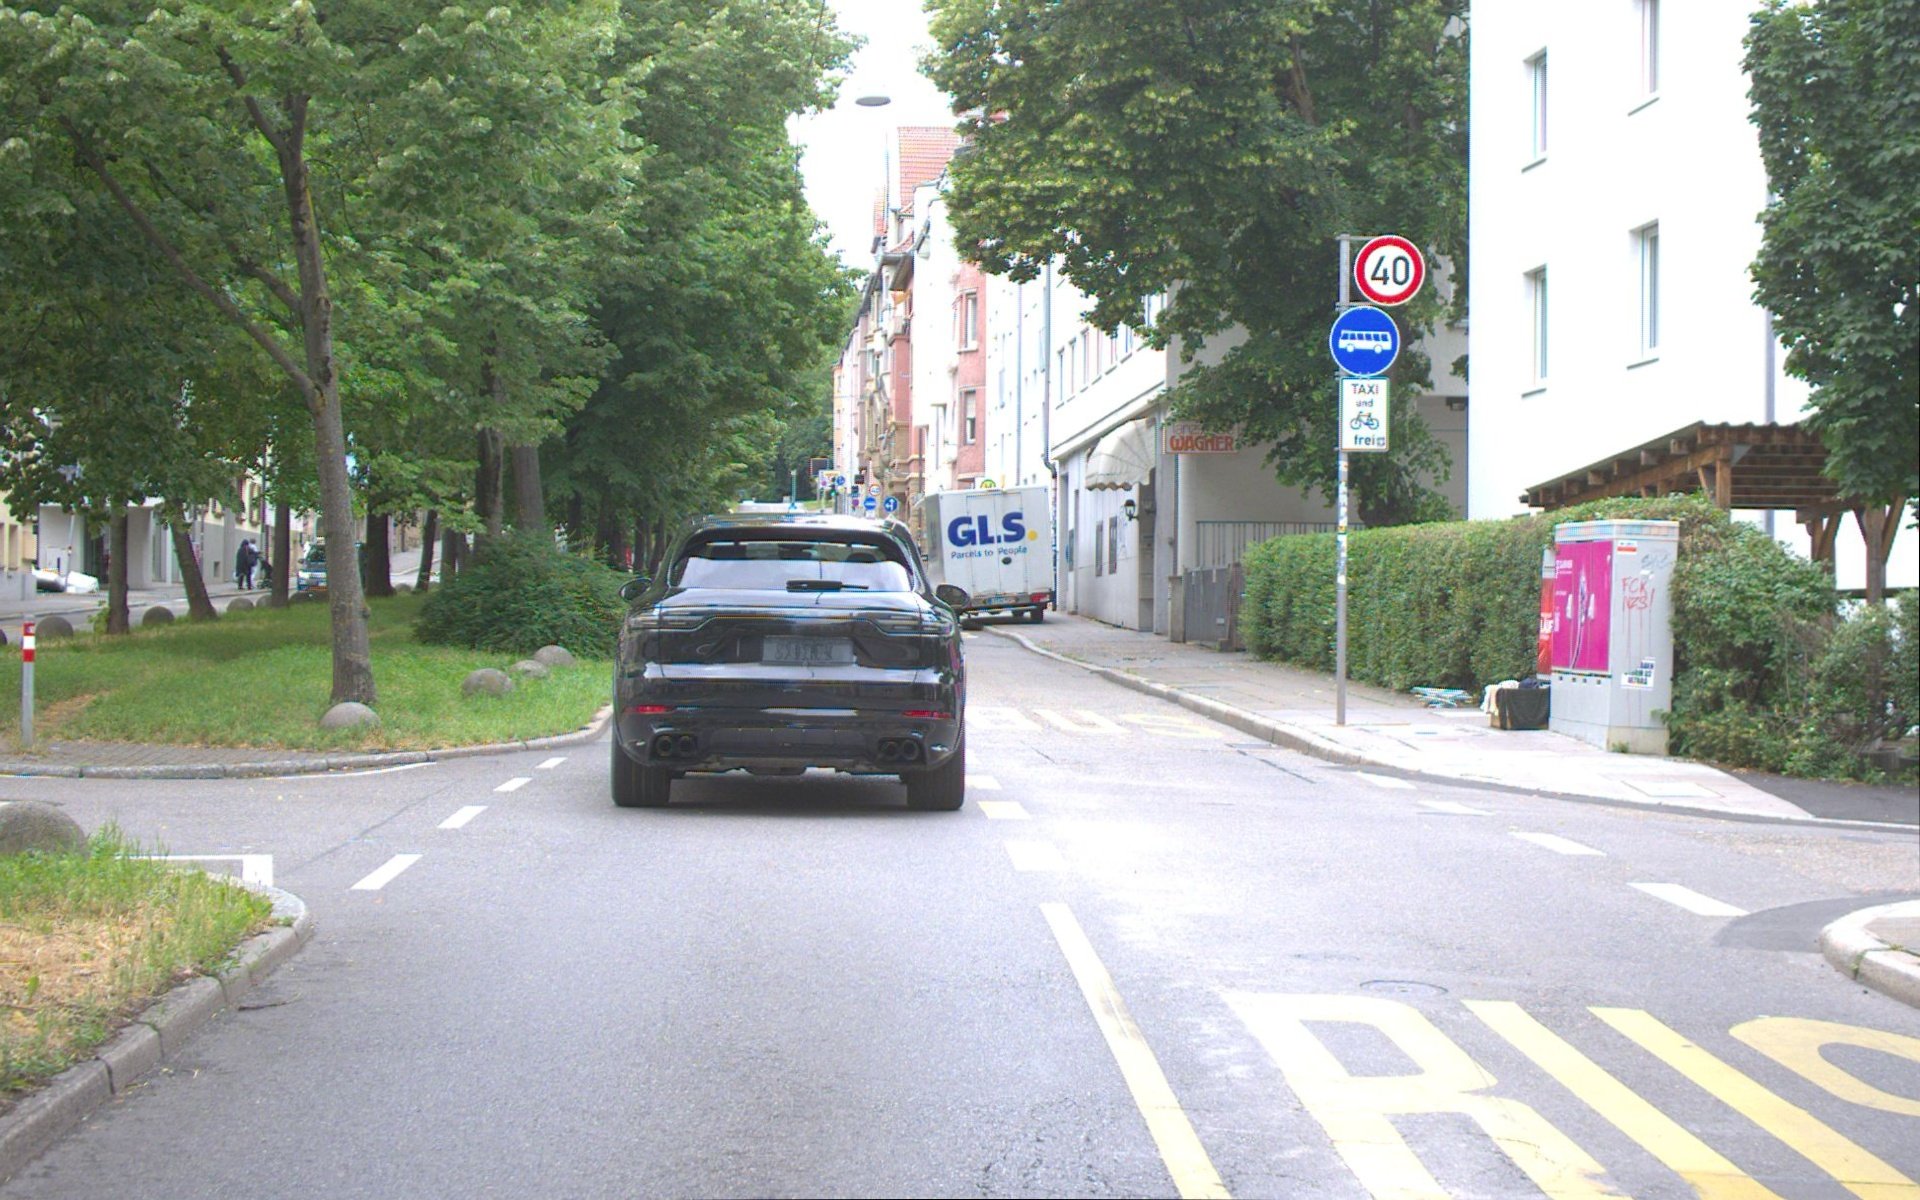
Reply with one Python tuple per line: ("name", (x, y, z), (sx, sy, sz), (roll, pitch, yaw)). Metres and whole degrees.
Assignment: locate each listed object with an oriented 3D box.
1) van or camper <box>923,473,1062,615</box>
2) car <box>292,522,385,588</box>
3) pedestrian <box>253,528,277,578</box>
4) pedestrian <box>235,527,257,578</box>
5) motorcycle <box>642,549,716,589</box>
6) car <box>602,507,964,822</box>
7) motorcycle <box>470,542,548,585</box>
("van or camper", (0.611, -1.162, 71.997), (2.480, 2.793, 7.239), (1, 1, -3))
("car", (-17.309, -1.262, 95.857), (1.948, 1.623, 4.365), (-6, 1, -4))
("pedestrian", (-22.382, -1.520, 110.695), (0.662, 1.610, 0.579), (1, 1, -1))
("pedestrian", (-22.515, -1.500, 108.460), (0.634, 1.607, 0.764), (1, 1, -11))
("motorcycle", (-9.124, -1.009, 111.582), (2.355, 1.231, 1.034), (1, 2, -4))
("car", (-1.112, 0.317, 20.333), (1.903, 1.660, 4.136), (1, 1, -5))
("motorcycle", (-14.261, -1.159, 108.721), (2.382, 1.312, 1.046), (1, 1, -4))
